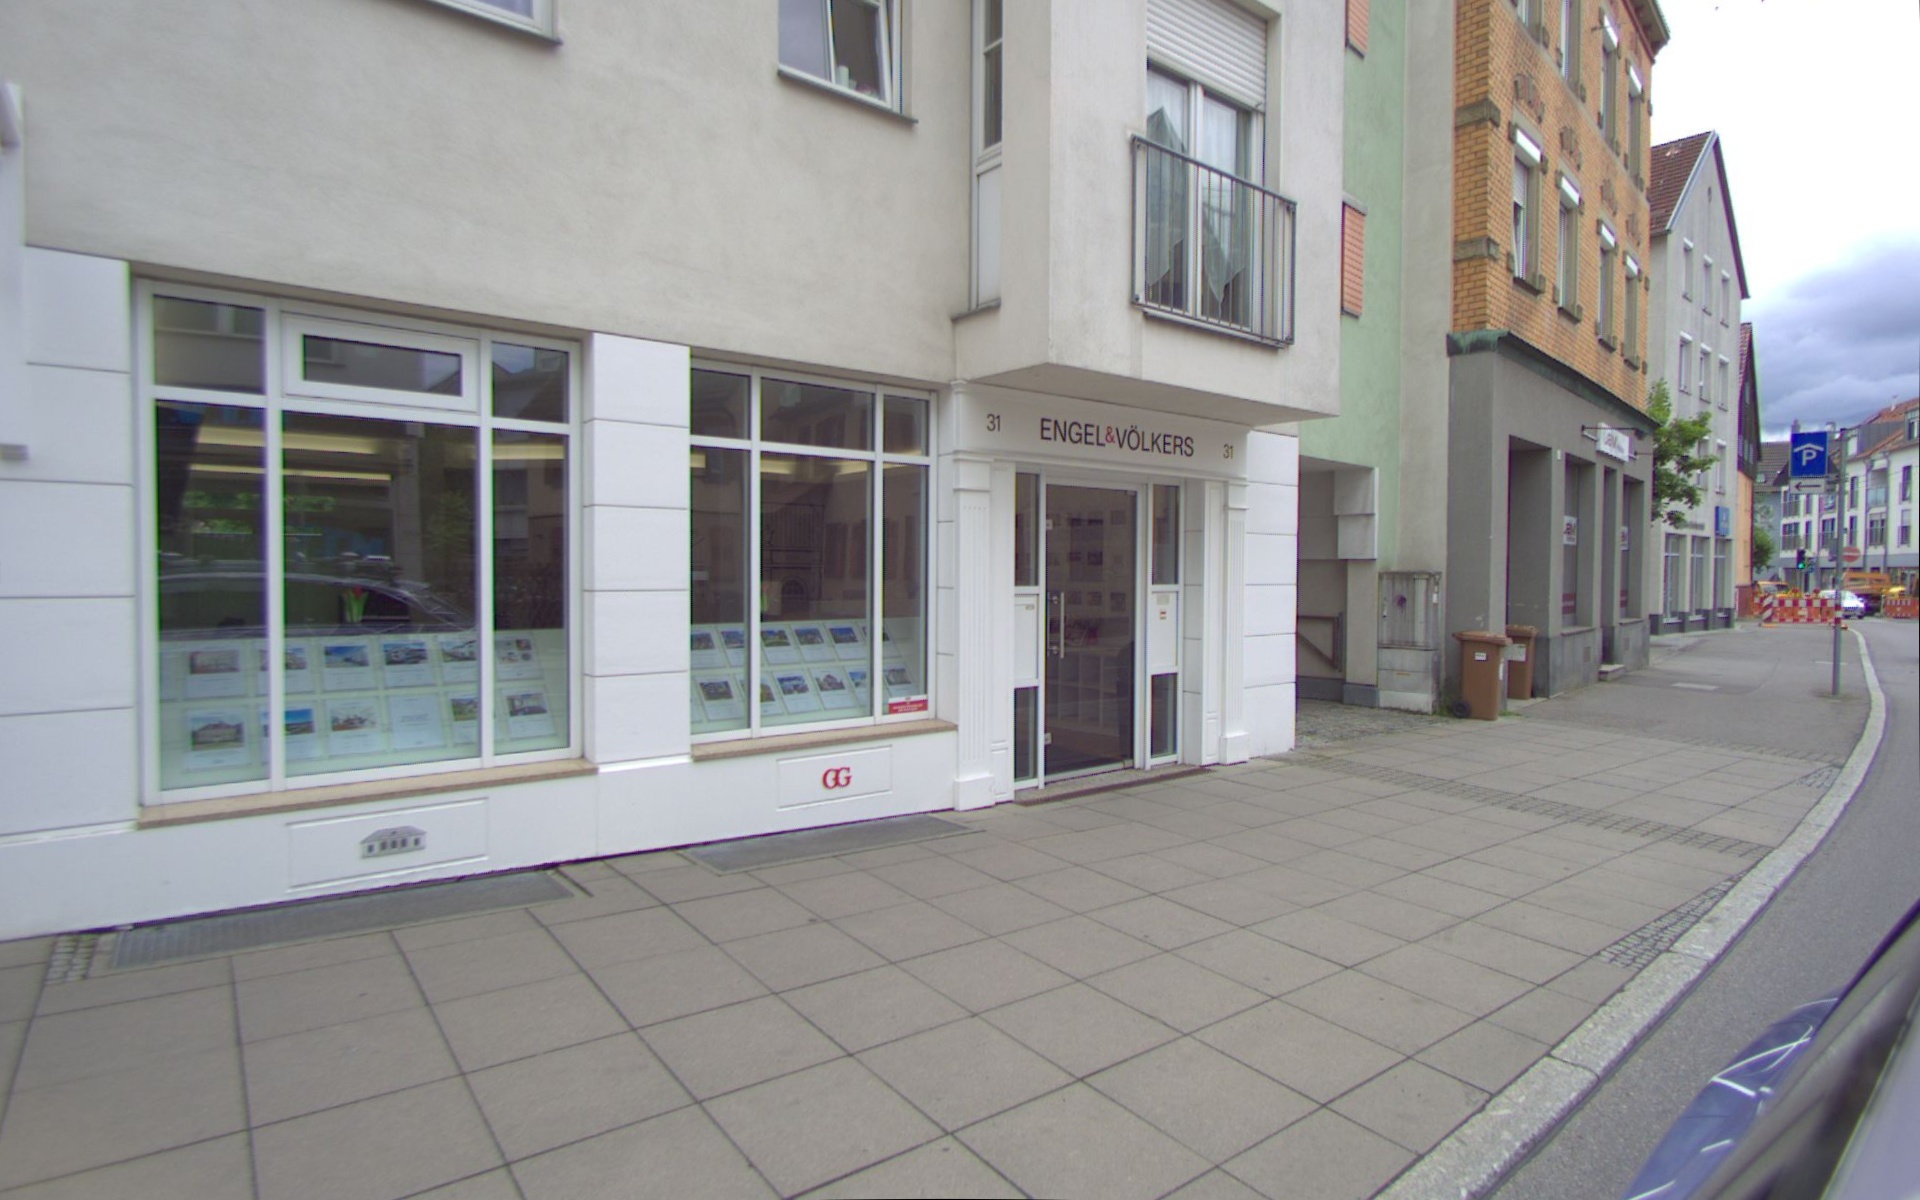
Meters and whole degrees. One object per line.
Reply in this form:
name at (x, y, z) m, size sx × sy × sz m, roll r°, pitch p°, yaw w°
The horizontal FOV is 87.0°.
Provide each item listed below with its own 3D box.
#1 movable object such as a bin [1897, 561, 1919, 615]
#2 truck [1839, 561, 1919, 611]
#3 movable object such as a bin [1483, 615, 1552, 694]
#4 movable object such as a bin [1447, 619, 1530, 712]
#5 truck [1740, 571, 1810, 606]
movable object such as a bin at (51.071, -0.622, 52.901) m, size 1.828 × 2.797 × 4.463 m, roll 2°, pitch 2°, yaw 27°
truck at (54.663, -0.803, 59.534) m, size 2.713 × 2.759 × 6.786 m, roll 2°, pitch 1°, yaw 26°
movable object such as a bin at (7.178, 0.678, 13.027) m, size 0.727 × 0.945 × 0.580 m, roll 0°, pitch 1°, yaw -44°
movable object such as a bin at (5.727, 0.689, 10.973) m, size 0.571 × 0.932 × 0.620 m, roll 0°, pitch 1°, yaw -42°
truck at (62.279, -0.859, 77.498) m, size 2.393 × 2.496 × 6.260 m, roll 2°, pitch 1°, yaw 22°
